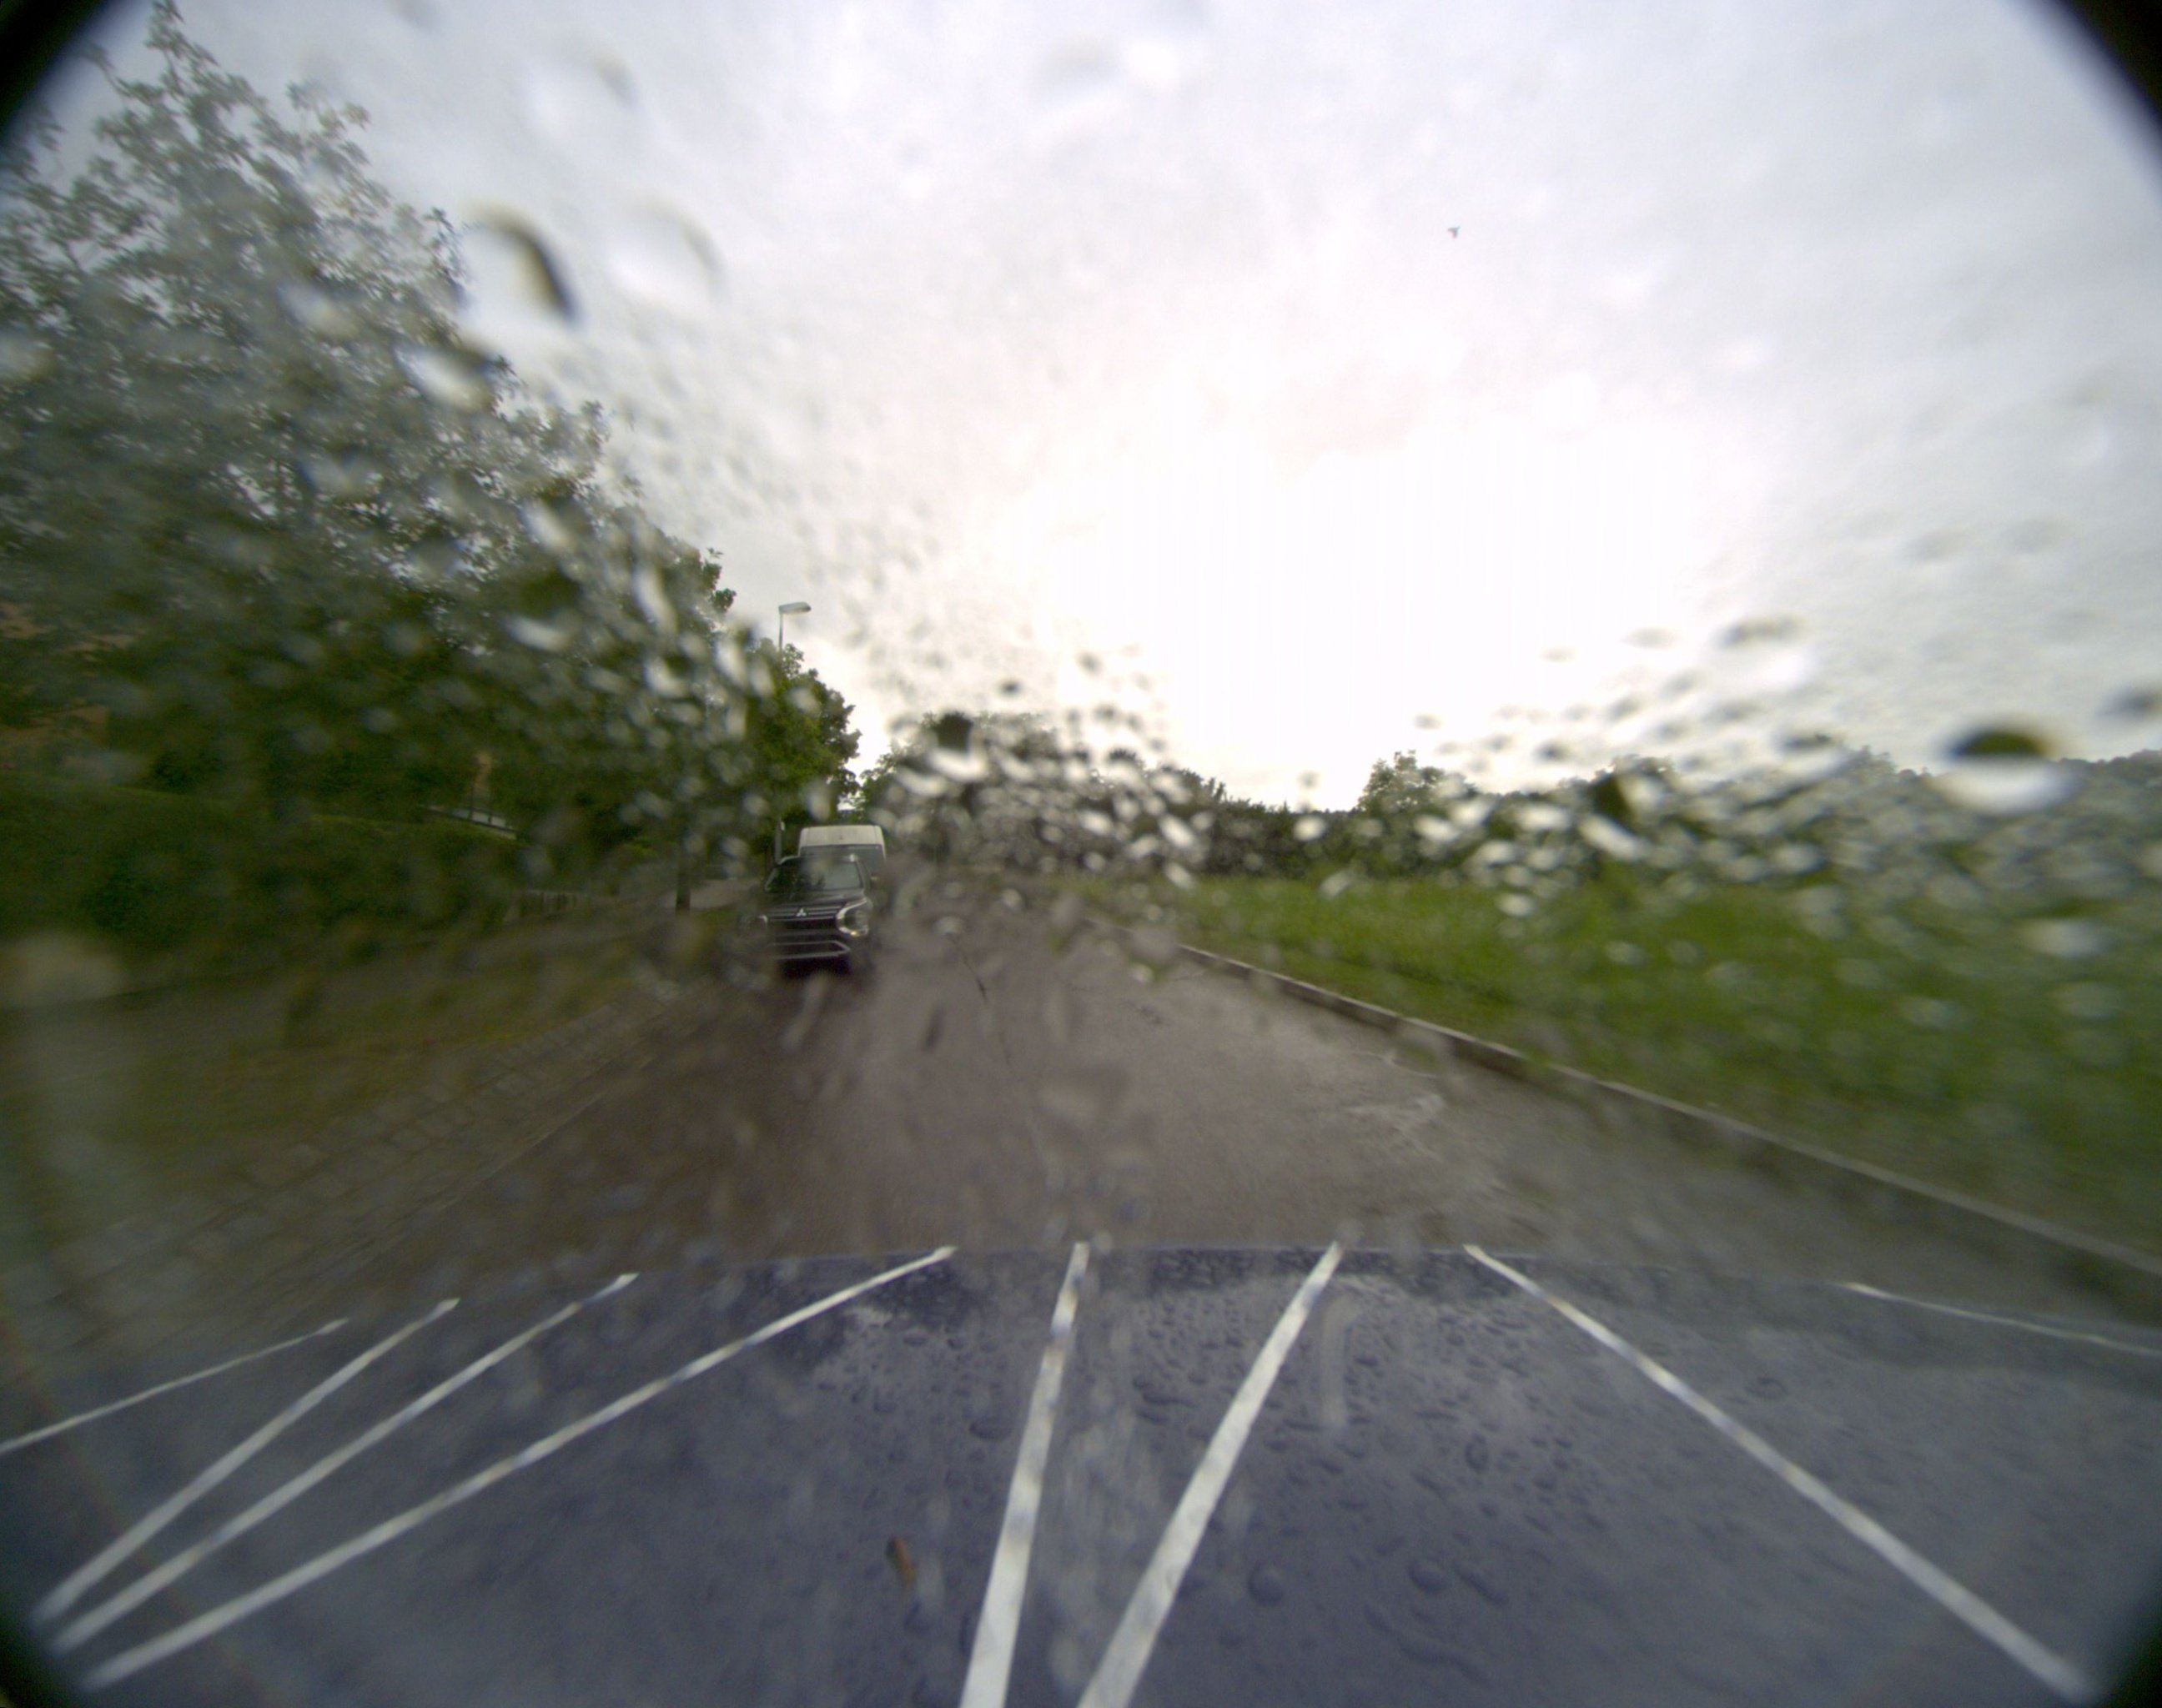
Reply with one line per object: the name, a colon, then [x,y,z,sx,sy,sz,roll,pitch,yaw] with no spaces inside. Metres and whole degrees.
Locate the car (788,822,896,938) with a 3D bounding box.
car: [-5.555,0.529,18.053,2.055,2.317,5.400,-1,0,-16]

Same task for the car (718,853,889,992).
car: [-4.176,0.878,12.196,1.817,1.717,4.647,-1,1,-11]

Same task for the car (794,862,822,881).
car: [-28.860,1.852,80.201,1.980,1.838,3.990,-1,1,-31]
